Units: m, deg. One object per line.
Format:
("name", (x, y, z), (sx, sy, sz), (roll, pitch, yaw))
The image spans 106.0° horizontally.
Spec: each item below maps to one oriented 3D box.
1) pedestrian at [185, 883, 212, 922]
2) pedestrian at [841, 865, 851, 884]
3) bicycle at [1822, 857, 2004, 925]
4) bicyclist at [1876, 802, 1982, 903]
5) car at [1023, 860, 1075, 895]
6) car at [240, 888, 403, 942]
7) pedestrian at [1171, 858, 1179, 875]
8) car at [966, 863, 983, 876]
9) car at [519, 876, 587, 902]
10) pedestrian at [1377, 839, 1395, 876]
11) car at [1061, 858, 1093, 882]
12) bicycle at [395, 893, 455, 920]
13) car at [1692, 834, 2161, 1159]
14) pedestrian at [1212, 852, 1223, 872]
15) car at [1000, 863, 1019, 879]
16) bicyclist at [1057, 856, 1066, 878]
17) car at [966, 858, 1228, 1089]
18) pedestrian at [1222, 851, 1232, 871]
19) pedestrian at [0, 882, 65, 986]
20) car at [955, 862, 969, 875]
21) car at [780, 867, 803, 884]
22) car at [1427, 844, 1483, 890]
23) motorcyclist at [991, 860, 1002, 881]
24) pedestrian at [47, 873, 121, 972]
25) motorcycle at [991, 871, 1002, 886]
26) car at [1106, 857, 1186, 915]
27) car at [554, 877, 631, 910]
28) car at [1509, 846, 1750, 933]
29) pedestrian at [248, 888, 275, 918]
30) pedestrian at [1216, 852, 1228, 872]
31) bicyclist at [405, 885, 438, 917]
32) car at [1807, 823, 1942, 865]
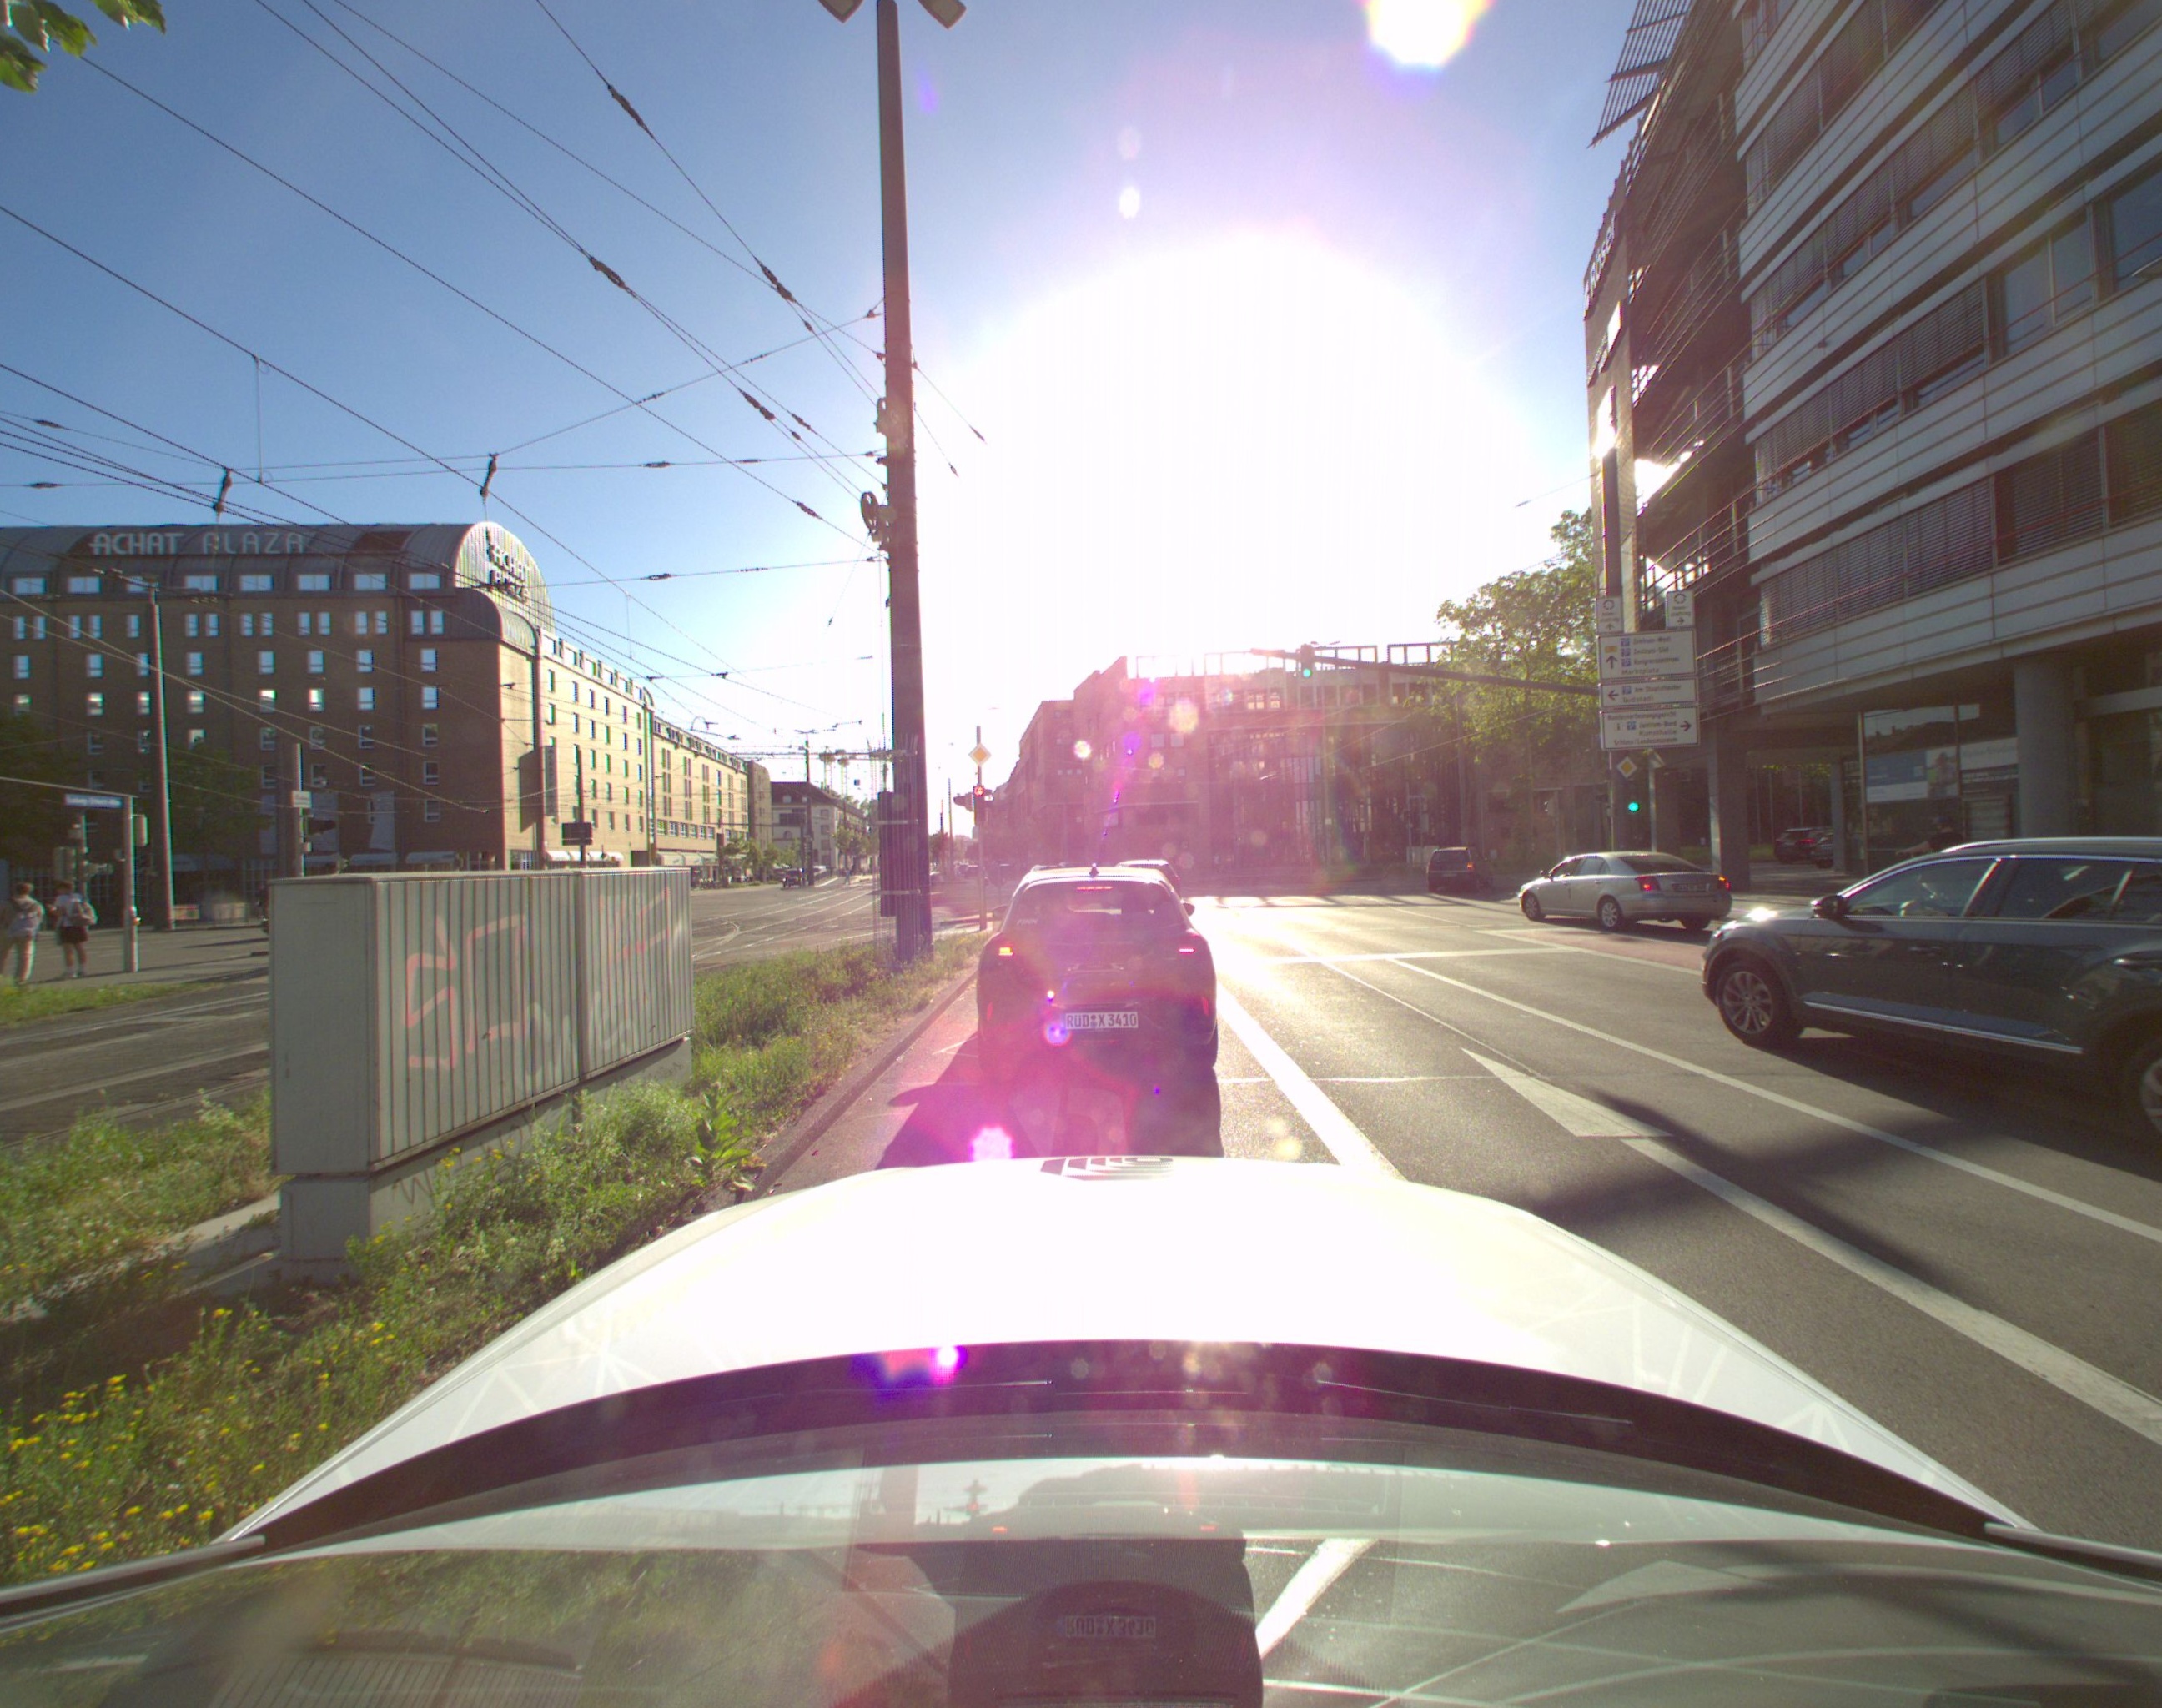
("pedestrian", (-47.862, 2.616, 44.161), (0.663, 2.013, 0.678), (-2, 0, 3))
("pedestrian", (-21.274, 1.856, 73.745), (0.769, 1.640, 0.738), (-2, 0, -23))
("bicycle", (13.727, 0.575, 13.551), (0.499, 1.032, 2.198), (-2, 0, -10))
("bicyclist", (13.720, -0.019, 13.206), (0.623, 1.567, 1.042), (1, -1, -4))
("car", (-1.635, 1.099, 39.484), (1.812, 1.492, 4.479), (-4, 0, -11))
("car", (-25.629, 2.010, 27.721), (1.719, 1.422, 4.139), (-4, 0, -4))
("pedestrian", (7.833, 1.029, 68.028), (0.527, 1.430, 0.598), (-2, 0, 1))
("car", (-12.059, 1.748, 91.724), (1.737, 1.349, 3.986), (-2, 0, -10))
("car", (-36.270, 2.355, 56.029), (1.745, 1.550, 4.007), (-2, 0, 6))
("pedestrian", (15.020, 0.180, 40.054), (0.700, 1.759, 0.564), (-2, -1, 27))
("car", (-0.291, 0.991, 52.101), (1.804, 1.457, 3.994), (-1, 0, -4))
("bicycle", (-30.353, 2.407, 37.731), (0.649, 1.085, 2.920), (-2, 0, -6))
("car", (5.973, 0.657, 4.890), (1.738, 1.505, 3.882), (-2, 0, 2))
("pedestrian", (11.406, 0.639, 68.058), (0.894, 1.617, 0.562), (-2, 0, 10))
("car", (-7.240, 1.678, 81.867), (1.805, 1.457, 3.991), (-1, 0, -6))
("bicyclist", (-1.597, 1.056, 66.758), (0.575, 1.791, 0.863), (-2, 0, 0))
("car", (0.206, 0.783, 7.230), (1.642, 1.433, 4.003), (-2, 0, 3))
("pedestrian", (12.336, 0.573, 68.912), (0.733, 1.617, 0.562), (-2, 0, 10))
("pedestrian", (-19.223, 1.439, 14.800), (0.630, 1.830, 0.662), (-2, 0, -5))
("car", (-16.053, 2.001, 110.079), (1.737, 1.651, 3.987), (-2, 0, -9))
("car", (-28.172, 2.048, 79.350), (1.748, 1.505, 3.860), (-2, 0, -15))
("car", (14.411, 0.456, 31.293), (1.672, 1.629, 4.490), (-2, 0, 28))
("motorcyclist", (-6.478, 1.240, 62.337), (0.744, 1.530, 1.018), (-2, 0, -7))
("pedestrian", (-19.164, 1.296, 15.664), (0.562, 1.817, 0.662), (-2, 0, -5))
("motorcycle", (-6.470, 1.875, 62.278), (0.774, 1.115, 1.964), (-2, 0, -7))
("car", (1.773, 0.845, 23.356), (1.682, 1.433, 4.147), (0, 0, -4))
("car", (-24.844, 1.955, 41.582), (1.569, 1.449, 3.996), (-2, 0, -3))
("car", (10.590, 0.613, 16.208), (1.745, 1.431, 4.488), (-2, 0, 0))
("pedestrian", (-43.002, 2.564, 42.732), (0.674, 1.503, 0.659), (-2, 0, -1))
("pedestrian", (11.660, 0.668, 67.335), (0.894, 1.617, 0.562), (-2, 0, 10))
("bicyclist", (-30.387, 2.145, 37.517), (0.756, 1.375, 0.949), (-2, 0, -6))
("car", (32.681, -0.389, 33.591), (3.981, 1.651, 1.861), (-1, 0, -6))
